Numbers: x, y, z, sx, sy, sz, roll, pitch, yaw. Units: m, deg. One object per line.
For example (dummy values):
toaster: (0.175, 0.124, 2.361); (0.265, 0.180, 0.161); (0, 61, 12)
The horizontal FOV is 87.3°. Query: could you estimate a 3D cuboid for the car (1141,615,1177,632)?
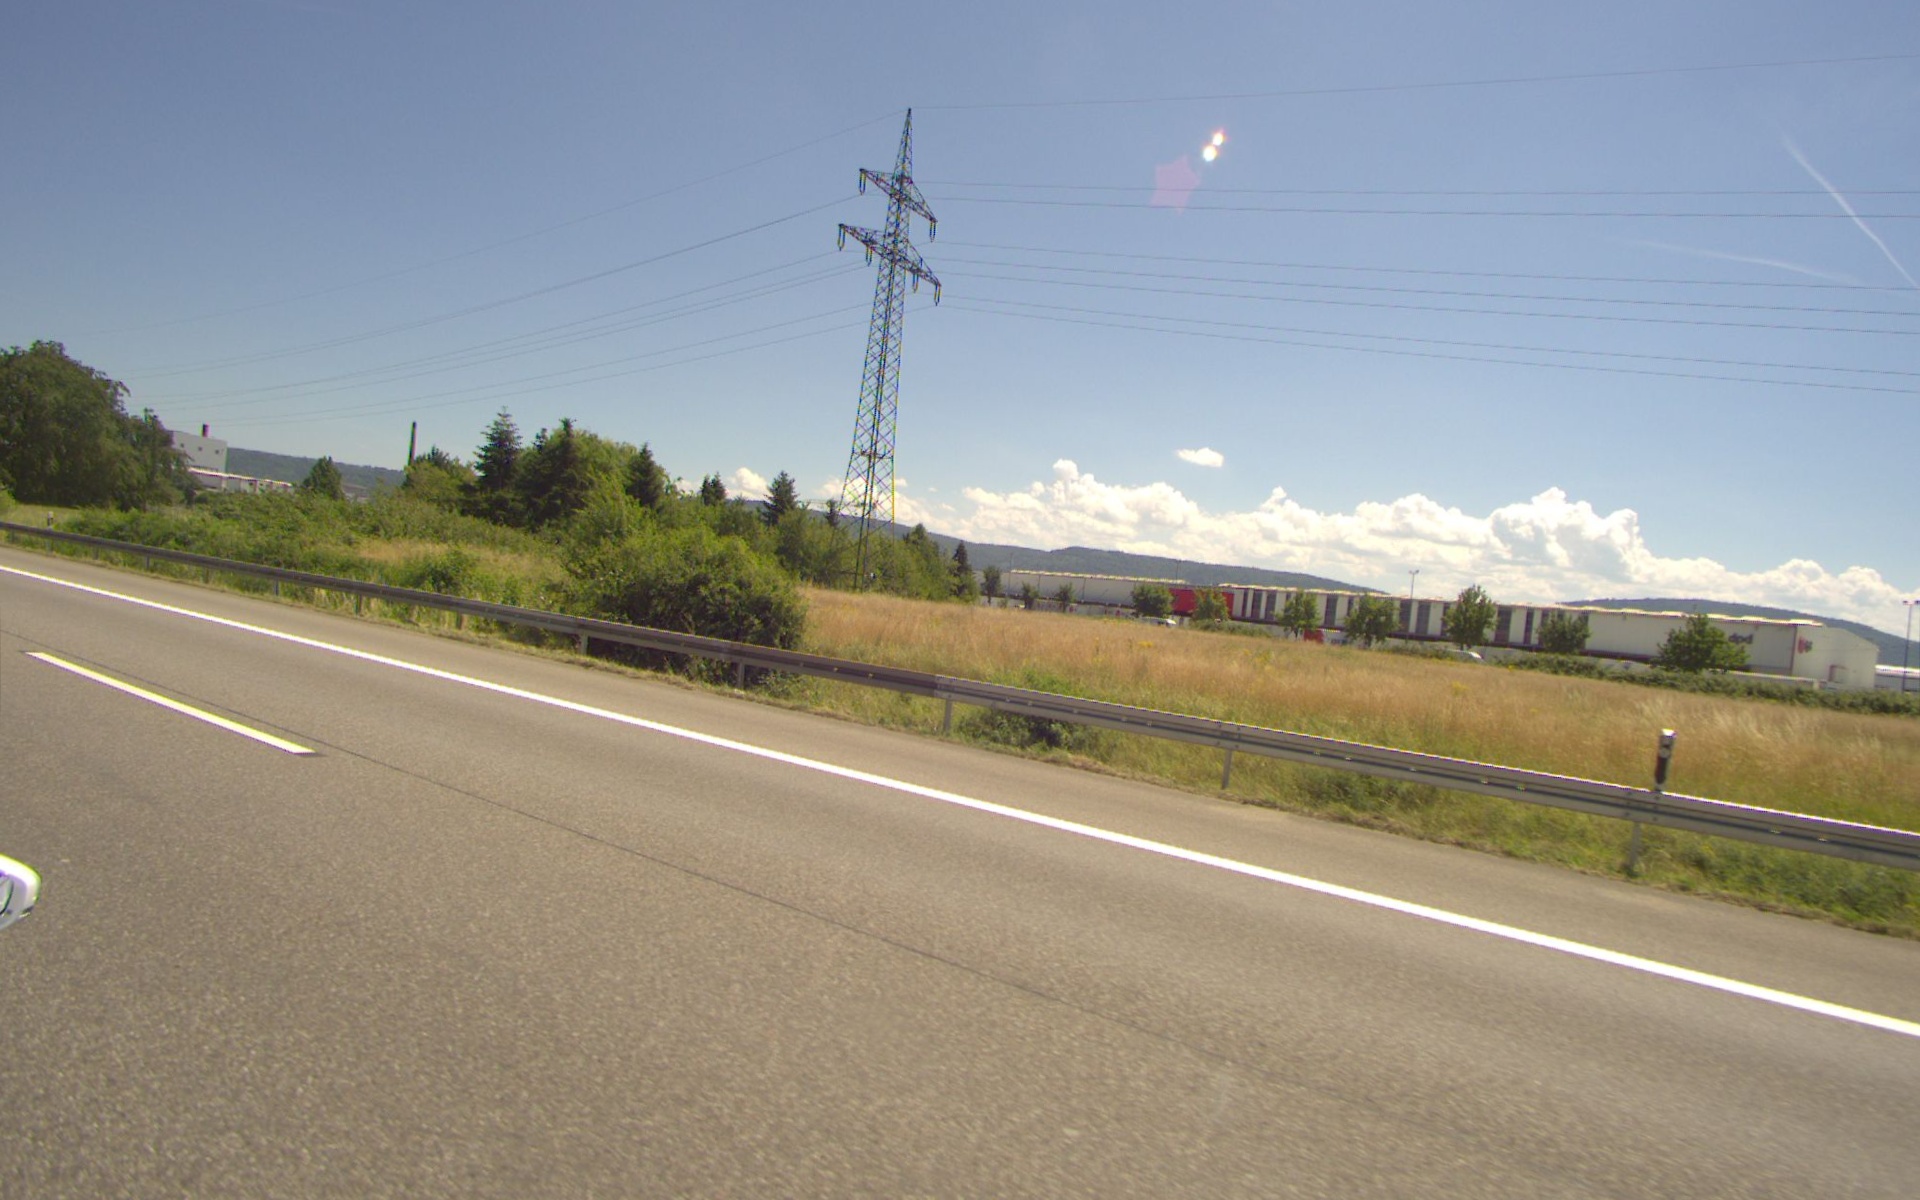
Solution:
car: (29.999, 3.490, 151.747); (1.985, 2.037, 5.211); (9, -2, -38)
